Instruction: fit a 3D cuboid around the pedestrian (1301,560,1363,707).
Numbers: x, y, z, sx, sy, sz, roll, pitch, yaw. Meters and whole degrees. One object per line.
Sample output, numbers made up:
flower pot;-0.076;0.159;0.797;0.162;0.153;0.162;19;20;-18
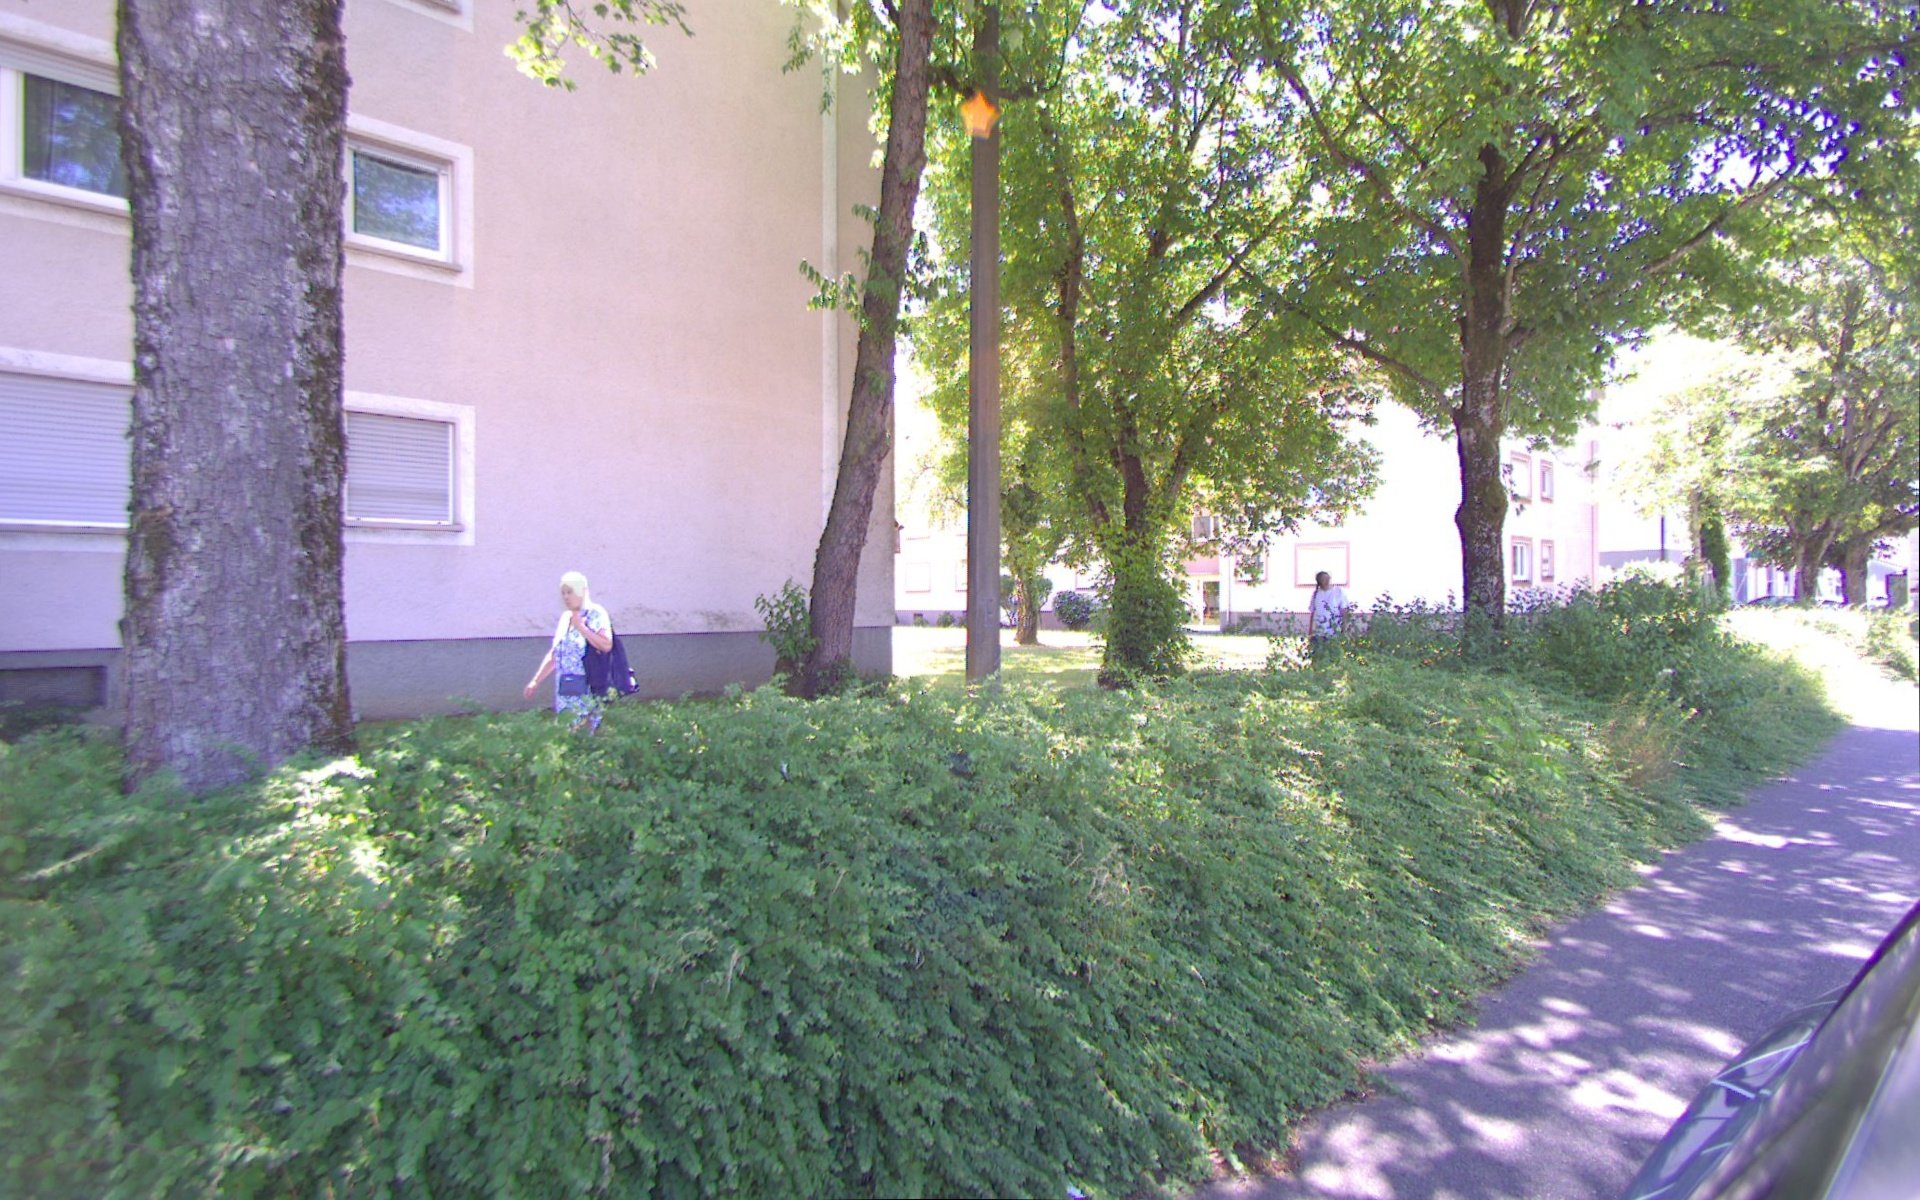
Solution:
pedestrian;5.029;0.428;13.646;0.667;1.897;0.894;-1;0;27

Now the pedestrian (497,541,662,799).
pedestrian;-2.639;0.440;7.035;0.717;1.654;0.839;1;0;41
